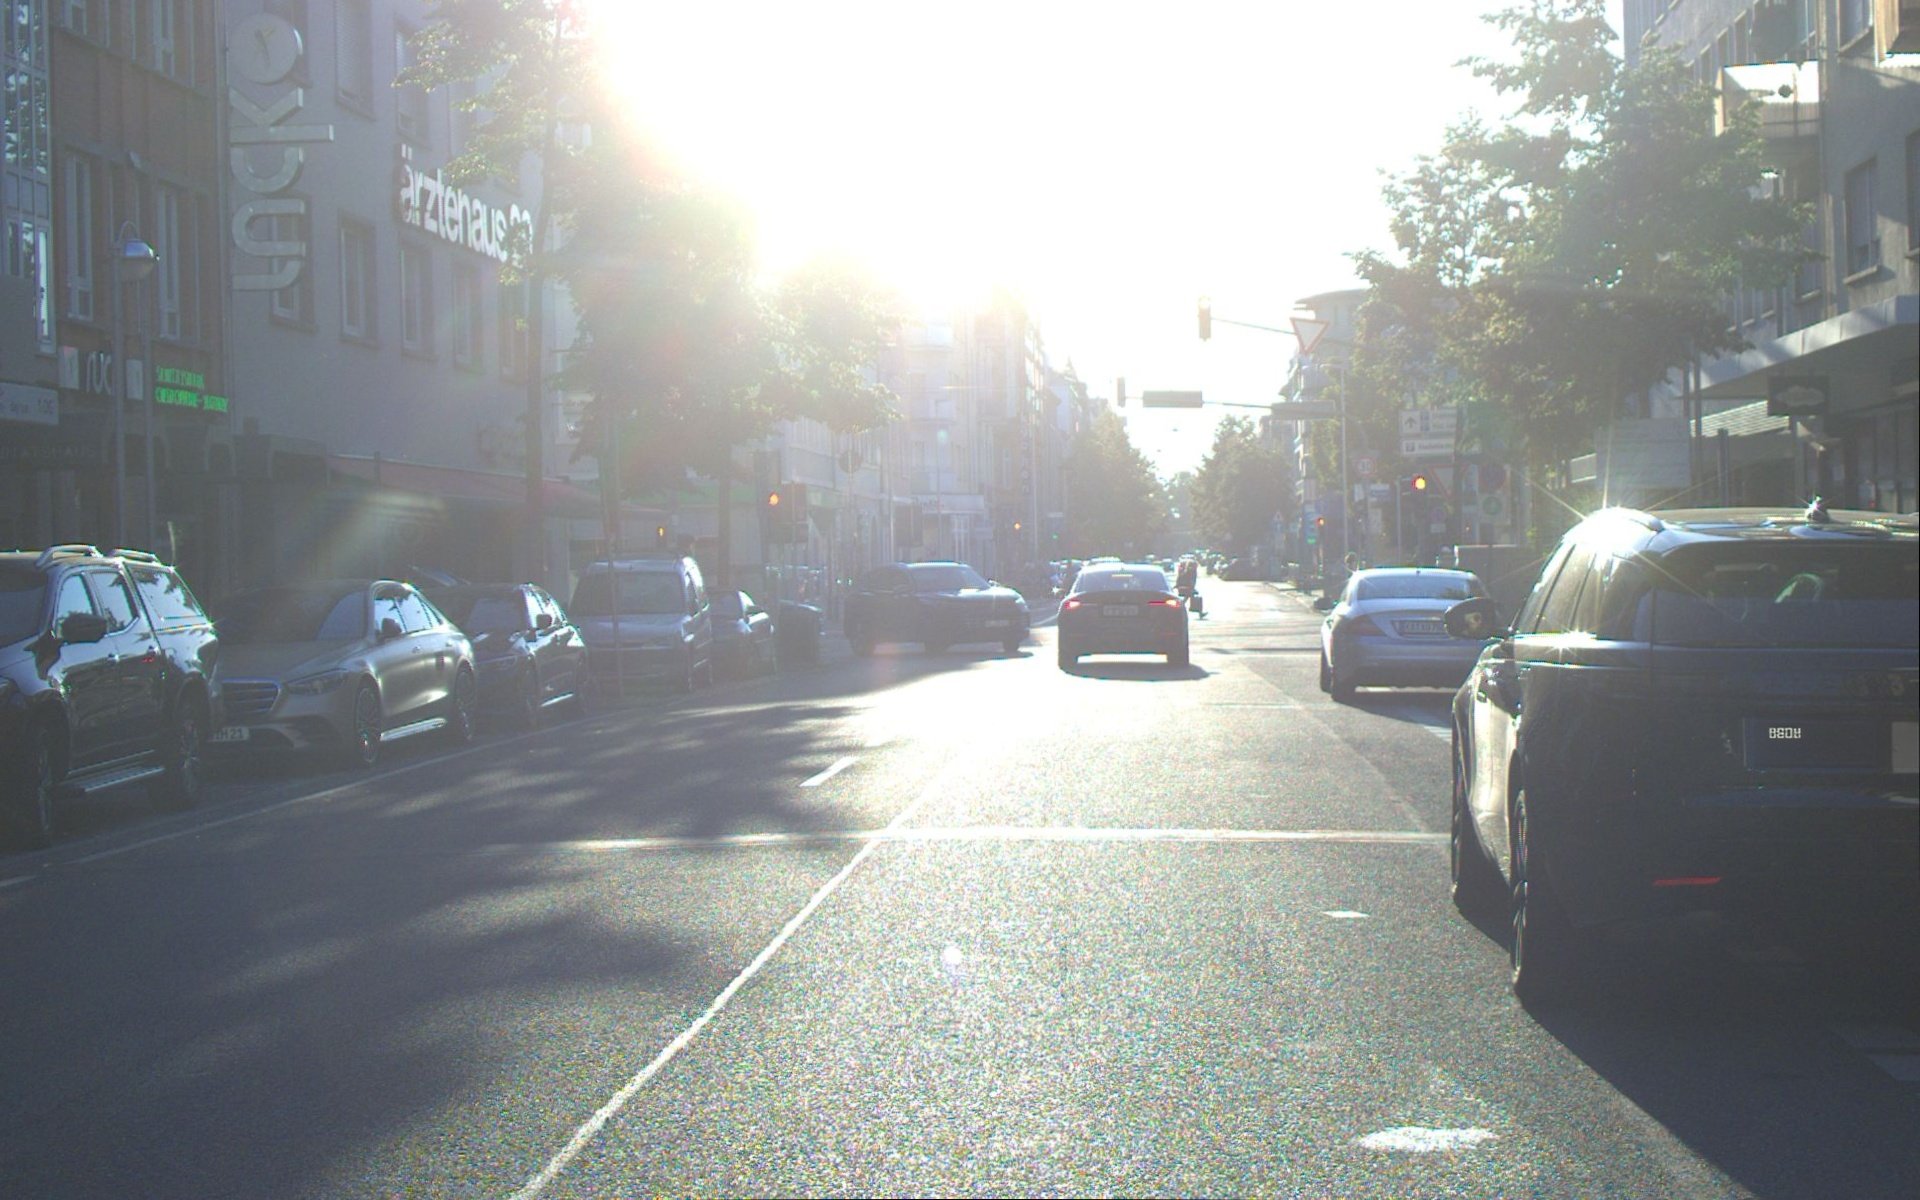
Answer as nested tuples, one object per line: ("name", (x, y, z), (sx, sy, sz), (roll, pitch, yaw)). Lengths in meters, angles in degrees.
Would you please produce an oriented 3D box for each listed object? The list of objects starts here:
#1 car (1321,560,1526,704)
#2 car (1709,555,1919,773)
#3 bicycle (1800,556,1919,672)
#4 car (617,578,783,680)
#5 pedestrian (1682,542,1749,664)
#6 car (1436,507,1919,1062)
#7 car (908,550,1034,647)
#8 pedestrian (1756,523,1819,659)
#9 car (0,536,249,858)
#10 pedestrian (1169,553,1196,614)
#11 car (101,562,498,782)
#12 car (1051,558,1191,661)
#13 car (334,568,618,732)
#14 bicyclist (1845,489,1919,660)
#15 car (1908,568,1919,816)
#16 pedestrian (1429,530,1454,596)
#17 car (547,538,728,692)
("car", (4.931, 0.297, 37.131), (1.922, 1.410, 4.547), (1, 1, 5))
("car", (6.711, 0.415, 25.478), (1.703, 1.431, 3.931), (-2, 1, 5))
("bicycle", (9.510, 0.137, 34.653), (1.930, 1.151, 0.651), (-1, 1, 42))
("car", (-3.721, 0.391, 49.862), (1.833, 1.323, 4.124), (-2, 1, 3))
("pedestrian", (9.790, 0.036, 44.555), (0.688, 1.553, 0.862), (-1, 0, 4))
("car", (2.901, 0.521, 12.618), (1.995, 1.649, 4.673), (1, 1, 5))
("car", (0.232, -0.049, 61.881), (1.922, 1.596, 4.325), (-1, 2, 5))
("pedestrian", (10.671, -0.116, 44.359), (0.688, 1.716, 0.716), (-2, 0, 10))
("car", (-6.153, 0.542, 21.969), (1.827, 1.804, 5.348), (-3, 1, 2))
("pedestrian", (6.000, -0.451, 92.706), (0.573, 1.639, 0.528), (-1, 2, -17))
("car", (-5.365, 0.521, 28.668), (1.827, 1.551, 5.135), (-3, 1, 5))
("car", (2.376, 0.102, 49.879), (1.884, 1.410, 4.324), (0, 1, 5))
("car", (-4.798, 0.450, 34.706), (1.827, 1.434, 4.553), (-3, 0, 4))
("bicyclist", (9.572, -0.256, 34.582), (1.094, 1.696, 0.651), (-1, 1, 42))
("car", (6.193, 0.528, 17.949), (1.633, 1.419, 3.757), (-2, 1, 4))
("pedestrian", (12.721, -0.984, 90.857), (0.494, 1.709, 0.462), (-1, 2, -15))
("car", (-4.071, 0.163, 43.983), (1.833, 1.848, 4.124), (-1, 0, 1))
